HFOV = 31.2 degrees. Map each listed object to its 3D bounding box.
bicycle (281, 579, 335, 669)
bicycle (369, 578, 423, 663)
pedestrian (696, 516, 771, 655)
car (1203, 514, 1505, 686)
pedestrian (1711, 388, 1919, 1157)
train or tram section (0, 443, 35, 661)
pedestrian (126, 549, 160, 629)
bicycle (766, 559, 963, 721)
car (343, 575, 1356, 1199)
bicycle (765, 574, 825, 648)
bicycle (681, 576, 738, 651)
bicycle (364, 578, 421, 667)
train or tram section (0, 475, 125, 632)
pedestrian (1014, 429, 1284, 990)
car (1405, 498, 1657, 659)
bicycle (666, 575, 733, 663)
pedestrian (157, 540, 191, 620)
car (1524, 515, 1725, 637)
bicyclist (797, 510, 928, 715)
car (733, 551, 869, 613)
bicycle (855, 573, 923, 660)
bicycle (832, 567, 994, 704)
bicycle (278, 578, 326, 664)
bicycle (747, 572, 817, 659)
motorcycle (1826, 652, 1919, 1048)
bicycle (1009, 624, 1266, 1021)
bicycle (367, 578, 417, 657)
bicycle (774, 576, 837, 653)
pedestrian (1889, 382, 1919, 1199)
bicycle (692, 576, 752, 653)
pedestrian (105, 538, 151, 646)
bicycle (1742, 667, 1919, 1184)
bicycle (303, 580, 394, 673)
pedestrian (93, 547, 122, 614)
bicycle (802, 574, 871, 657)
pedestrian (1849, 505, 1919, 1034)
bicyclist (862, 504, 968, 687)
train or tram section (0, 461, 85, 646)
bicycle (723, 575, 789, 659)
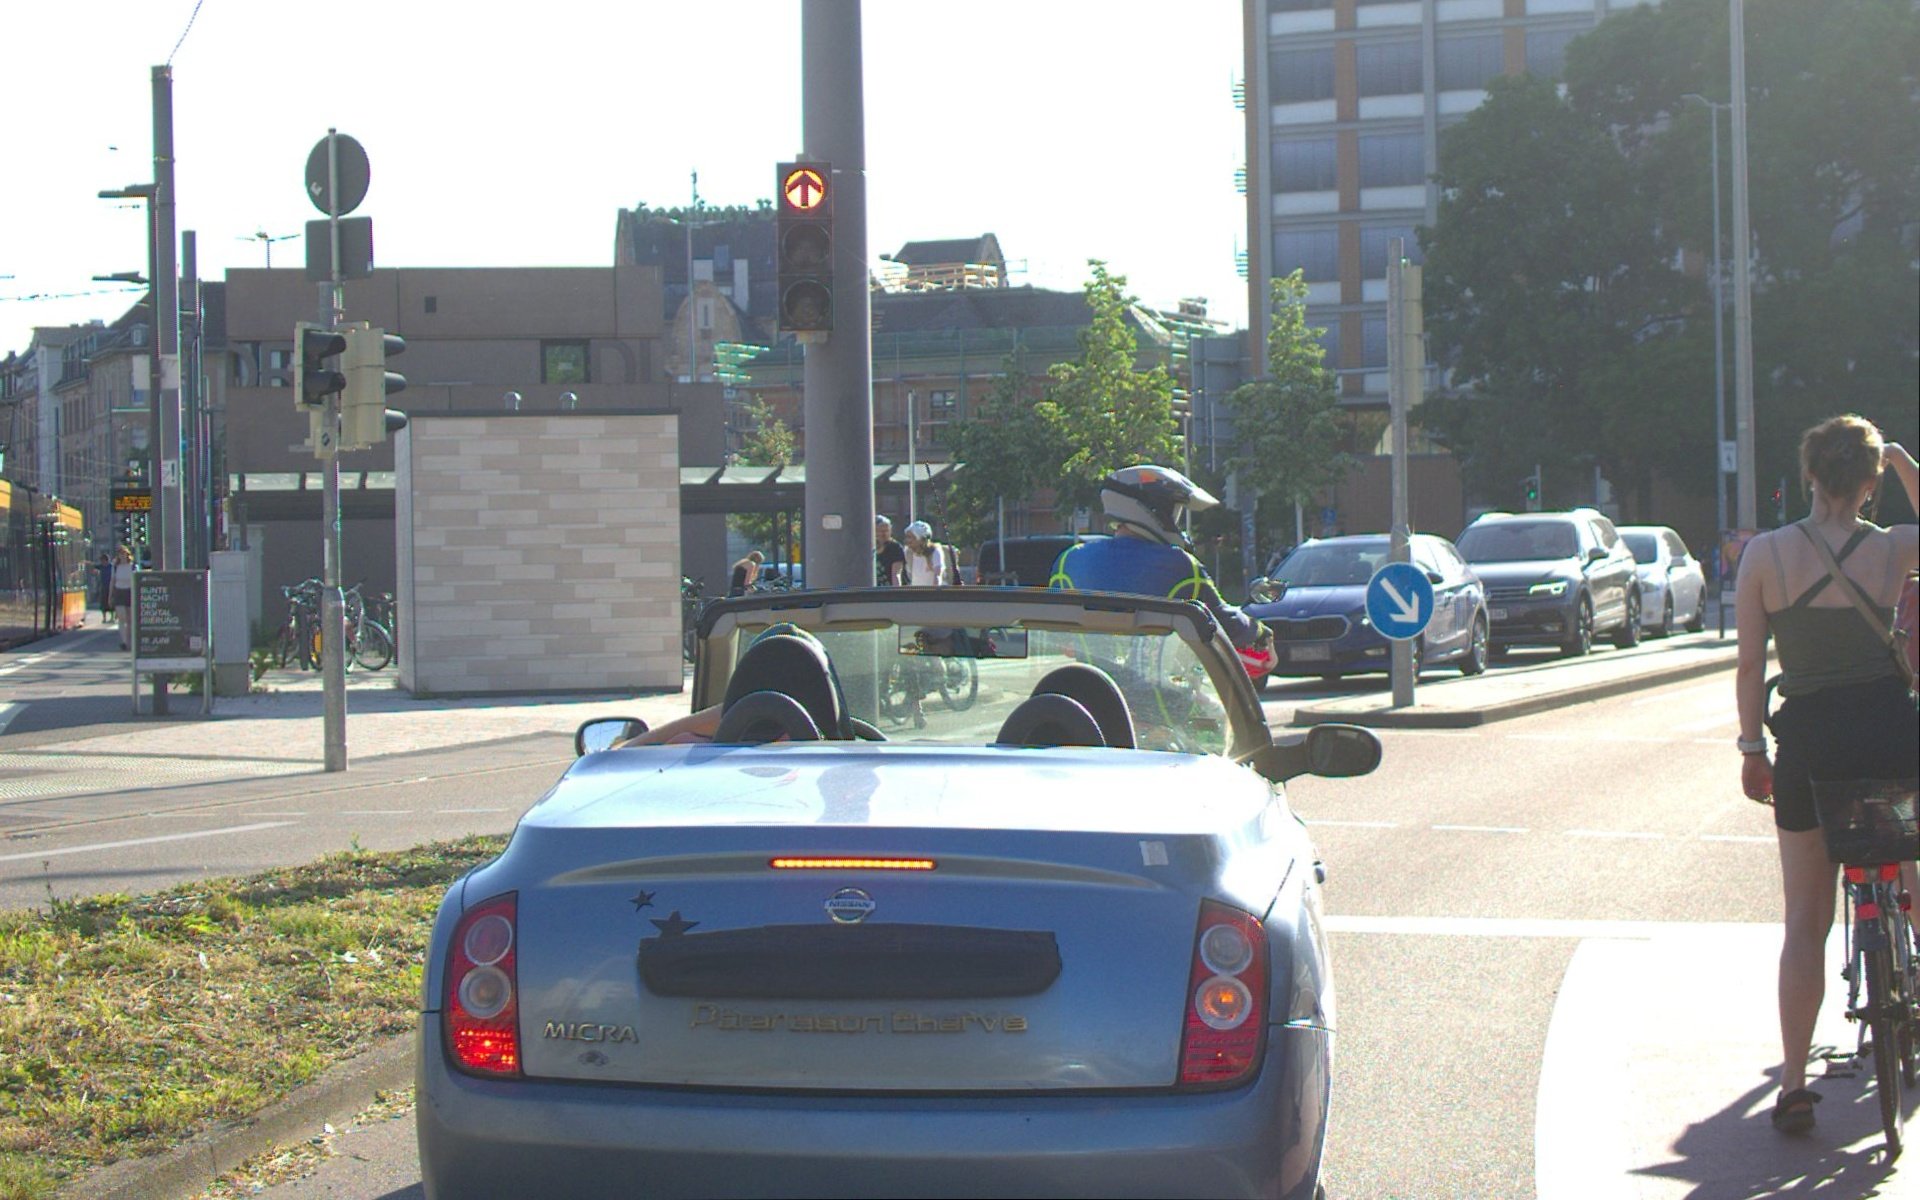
[{"bbox_3d":[-8.365,0.300,44.072,0.606,1.111,1.897,1,1,-12],"label":"bicycle"},{"bbox_3d":[-7.628,0.266,46.466,0.606,1.111,1.897,1,1,-12],"label":"bicycle"},{"bbox_3d":[-3.084,-0.201,46.779,0.900,1.862,0.687,1,0,-12],"label":"pedestrian"},{"bbox_3d":[3.915,-0.014,33.635,1.739,1.568,3.919,1,1,25],"label":"car"},{"bbox_3d":[2.286,0.414,8.786,0.659,1.862,0.872,1,0,15],"label":"pedestrian"},{"bbox_3d":[-18.166,-0.852,60.682,2.880,3.584,12.203,1,1,-12],"label":"train or tram section"},{"bbox_3d":[-18.031,-0.249,75.868,0.637,1.743,0.736,-1,1,-19],"label":"pedestrian"},{"bbox_3d":[-0.773,0.312,28.854,0.675,1.246,2.454,-3,0,22],"label":"bicycle"},{"bbox_3d":[0.032,0.677,7.694,1.660,1.436,4.153,1,1,6],"label":"car"},{"bbox_3d":[-2.561,0.161,53.245,0.606,1.111,1.897,1,1,-12],"label":"bicycle"},{"bbox_3d":[-3.874,0.199,53.038,0.606,1.111,1.897,1,1,-12],"label":"bicycle"},{"bbox_3d":[-7.339,0.277,44.402,0.606,1.111,1.897,1,1,-12],"label":"bicycle"},{"bbox_3d":[-22.576,-1.141,84.598,3.039,3.584,12.055,1,1,-9],"label":"train or tram section"},{"bbox_3d":[0.673,0.360,11.966,0.833,1.862,0.920,1,0,8],"label":"pedestrian"},{"bbox_3d":[6.661,-0.273,39.731,1.763,1.700,4.525,-2,0,24],"label":"car"},{"bbox_3d":[-3.430,0.236,45.125,0.606,1.111,1.897,1,1,-12],"label":"bicycle"},{"bbox_3d":[-17.475,-0.445,76.410,0.637,1.743,0.736,-1,1,-19],"label":"pedestrian"},{"bbox_3d":[9.001,-0.347,46.331,1.697,1.555,3.974,-1,1,25],"label":"car"},{"bbox_3d":[-0.813,0.098,28.783,0.709,1.651,0.900,-3,0,22],"label":"bicyclist"},{"bbox_3d":[-4.121,-0.457,88.690,1.640,1.555,3.599,-2,1,-39],"label":"car"},{"bbox_3d":[-0.946,0.207,45.568,0.606,1.111,1.897,1,1,-10],"label":"bicycle"},{"bbox_3d":[-0.408,0.309,31.467,0.675,1.176,2.181,-1,1,22],"label":"bicycle"},{"bbox_3d":[-8.799,0.275,45.997,0.606,1.111,1.897,1,1,-11],"label":"bicycle"},{"bbox_3d":[-2.356,0.190,45.266,0.606,1.111,1.897,1,1,-12],"label":"bicycle"},{"bbox_3d":[3.173,0.745,11.081,0.614,1.094,2.358,1,1,17],"label":"motorcycle"},{"bbox_3d":[0.657,0.698,11.903,0.608,1.187,2.414,1,1,9],"label":"bicycle"},{"bbox_3d":[-8.330,0.244,50.341,0.606,1.111,1.897,1,1,-12],"label":"bicycle"},{"bbox_3d":[-2.312,0.207,51.273,0.606,1.111,1.897,1,1,-12],"label":"bicycle"},{"bbox_3d":[2.489,0.455,7.399,0.806,1.862,0.956,1,0,8],"label":"pedestrian"},{"bbox_3d":[-3.543,0.209,51.070,0.606,1.111,1.897,1,1,-12],"label":"bicycle"},{"bbox_3d":[-13.502,-0.132,55.802,0.637,1.743,0.572,-1,1,-19],"label":"pedestrian"},{"bbox_3d":[2.368,0.780,8.979,0.564,1.147,1.948,1,1,14],"label":"bicycle"},{"bbox_3d":[-7.545,0.317,42.467,0.607,1.111,1.896,1,1,5],"label":"bicycle"},{"bbox_3d":[-22.294,-0.514,89.928,0.604,1.743,0.832,-1,1,-8],"label":"pedestrian"},{"bbox_3d":[-1.720,0.203,47.585,0.606,1.111,1.897,1,1,-12],"label":"bicycle"},{"bbox_3d":[3.133,0.511,10.816,0.588,1.593,1.024,1,0,17],"label":"pedestrian"},{"bbox_3d":[-0.408,-0.047,31.489,0.709,1.651,0.742,-1,1,22],"label":"bicyclist"},{"bbox_3d":[-20.508,-0.993,72.672,3.011,3.584,12.203,1,1,-10],"label":"train or tram section"},{"bbox_3d":[-2.807,0.224,47.198,0.606,1.111,1.897,1,1,-12],"label":"bicycle"}]
